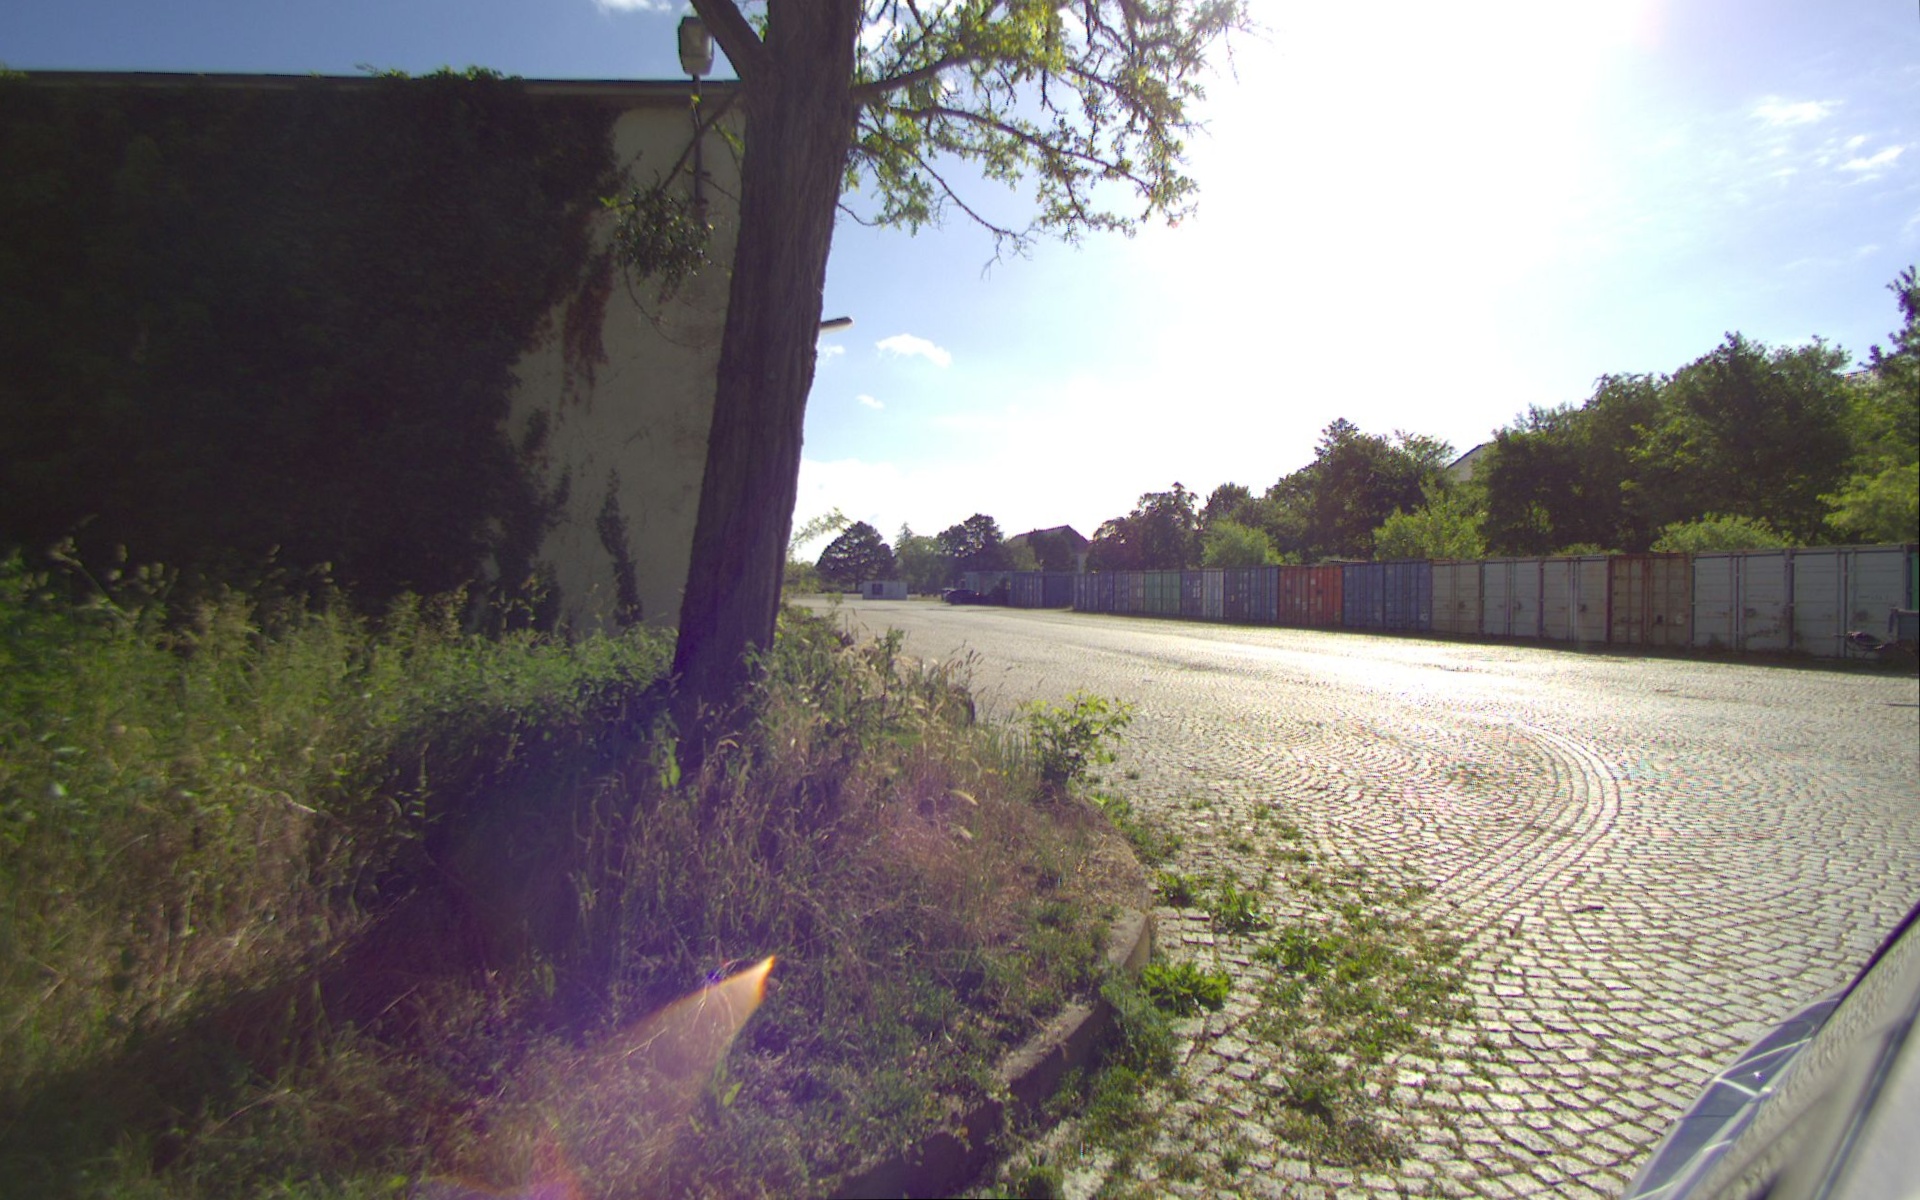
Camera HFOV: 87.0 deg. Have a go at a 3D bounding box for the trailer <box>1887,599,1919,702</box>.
[{"bbox_3d":[15.186,0.753,12.522,2.594,1.432,4.872,0,1,-12],"label":"trailer"}]

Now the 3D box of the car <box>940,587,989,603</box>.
[{"bbox_3d":[0.392,-0.468,92.004,4.029,1.312,2.004,-2,1,-14],"label":"car"}]
